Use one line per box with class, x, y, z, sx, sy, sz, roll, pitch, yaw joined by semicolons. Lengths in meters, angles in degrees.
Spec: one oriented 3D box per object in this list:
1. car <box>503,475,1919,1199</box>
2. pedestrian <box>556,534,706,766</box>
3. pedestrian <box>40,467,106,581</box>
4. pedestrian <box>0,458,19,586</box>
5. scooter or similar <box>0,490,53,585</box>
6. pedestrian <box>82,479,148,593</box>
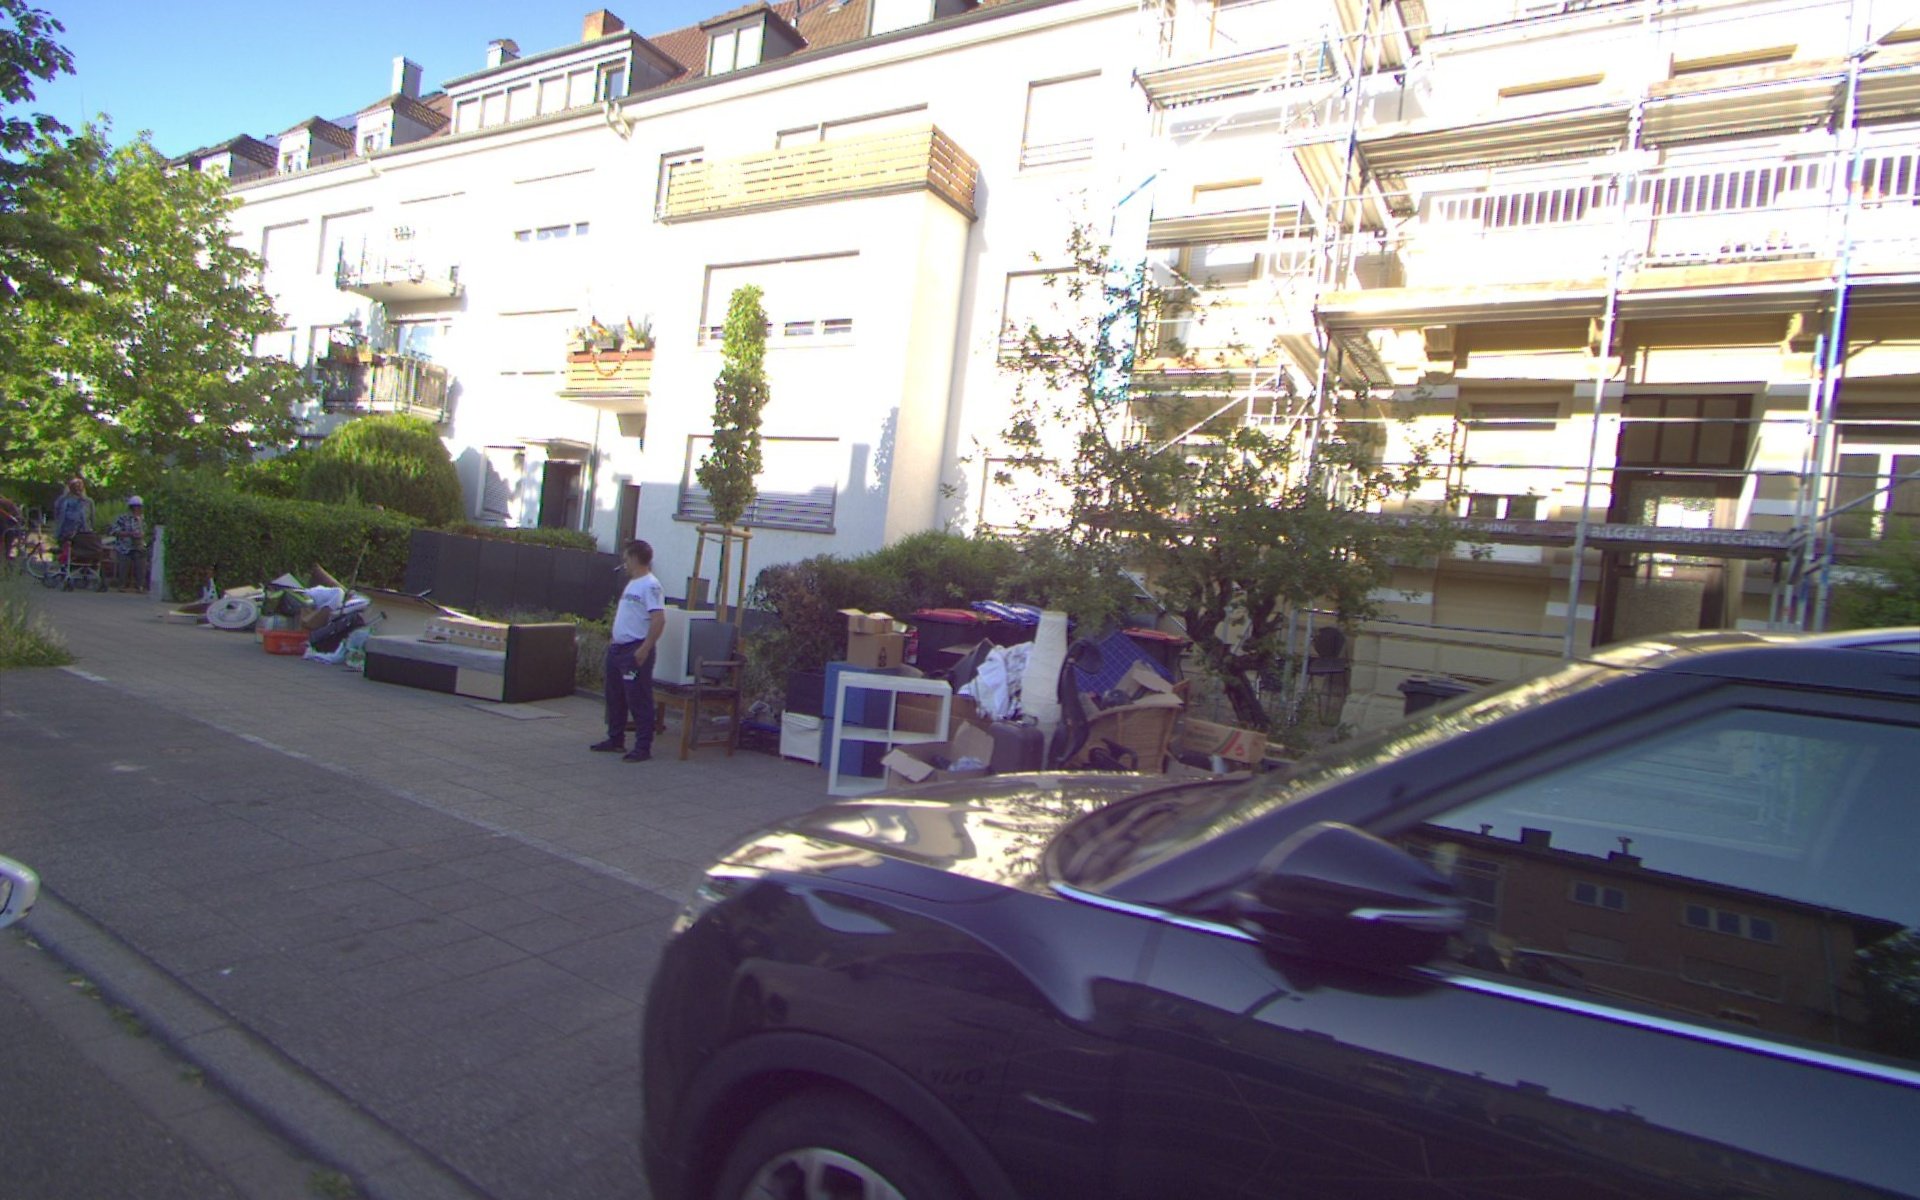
car;1.252;0.804;1.810;3.962;1.653;1.793;7;2;31
pedestrian;-2.434;0.360;7.472;0.734;1.587;0.557;6;1;14
pedestrian;-14.138;-1.199;16.034;0.518;1.718;0.511;7;1;27
pedestrian;-14.461;-1.190;14.897;0.753;1.873;0.548;7;2;39
scooter or similar;-14.296;-0.960;15.148;0.710;1.334;0.746;7;1;39
pedestrian;-13.401;-1.002;15.954;0.518;1.718;0.511;7;1;27
